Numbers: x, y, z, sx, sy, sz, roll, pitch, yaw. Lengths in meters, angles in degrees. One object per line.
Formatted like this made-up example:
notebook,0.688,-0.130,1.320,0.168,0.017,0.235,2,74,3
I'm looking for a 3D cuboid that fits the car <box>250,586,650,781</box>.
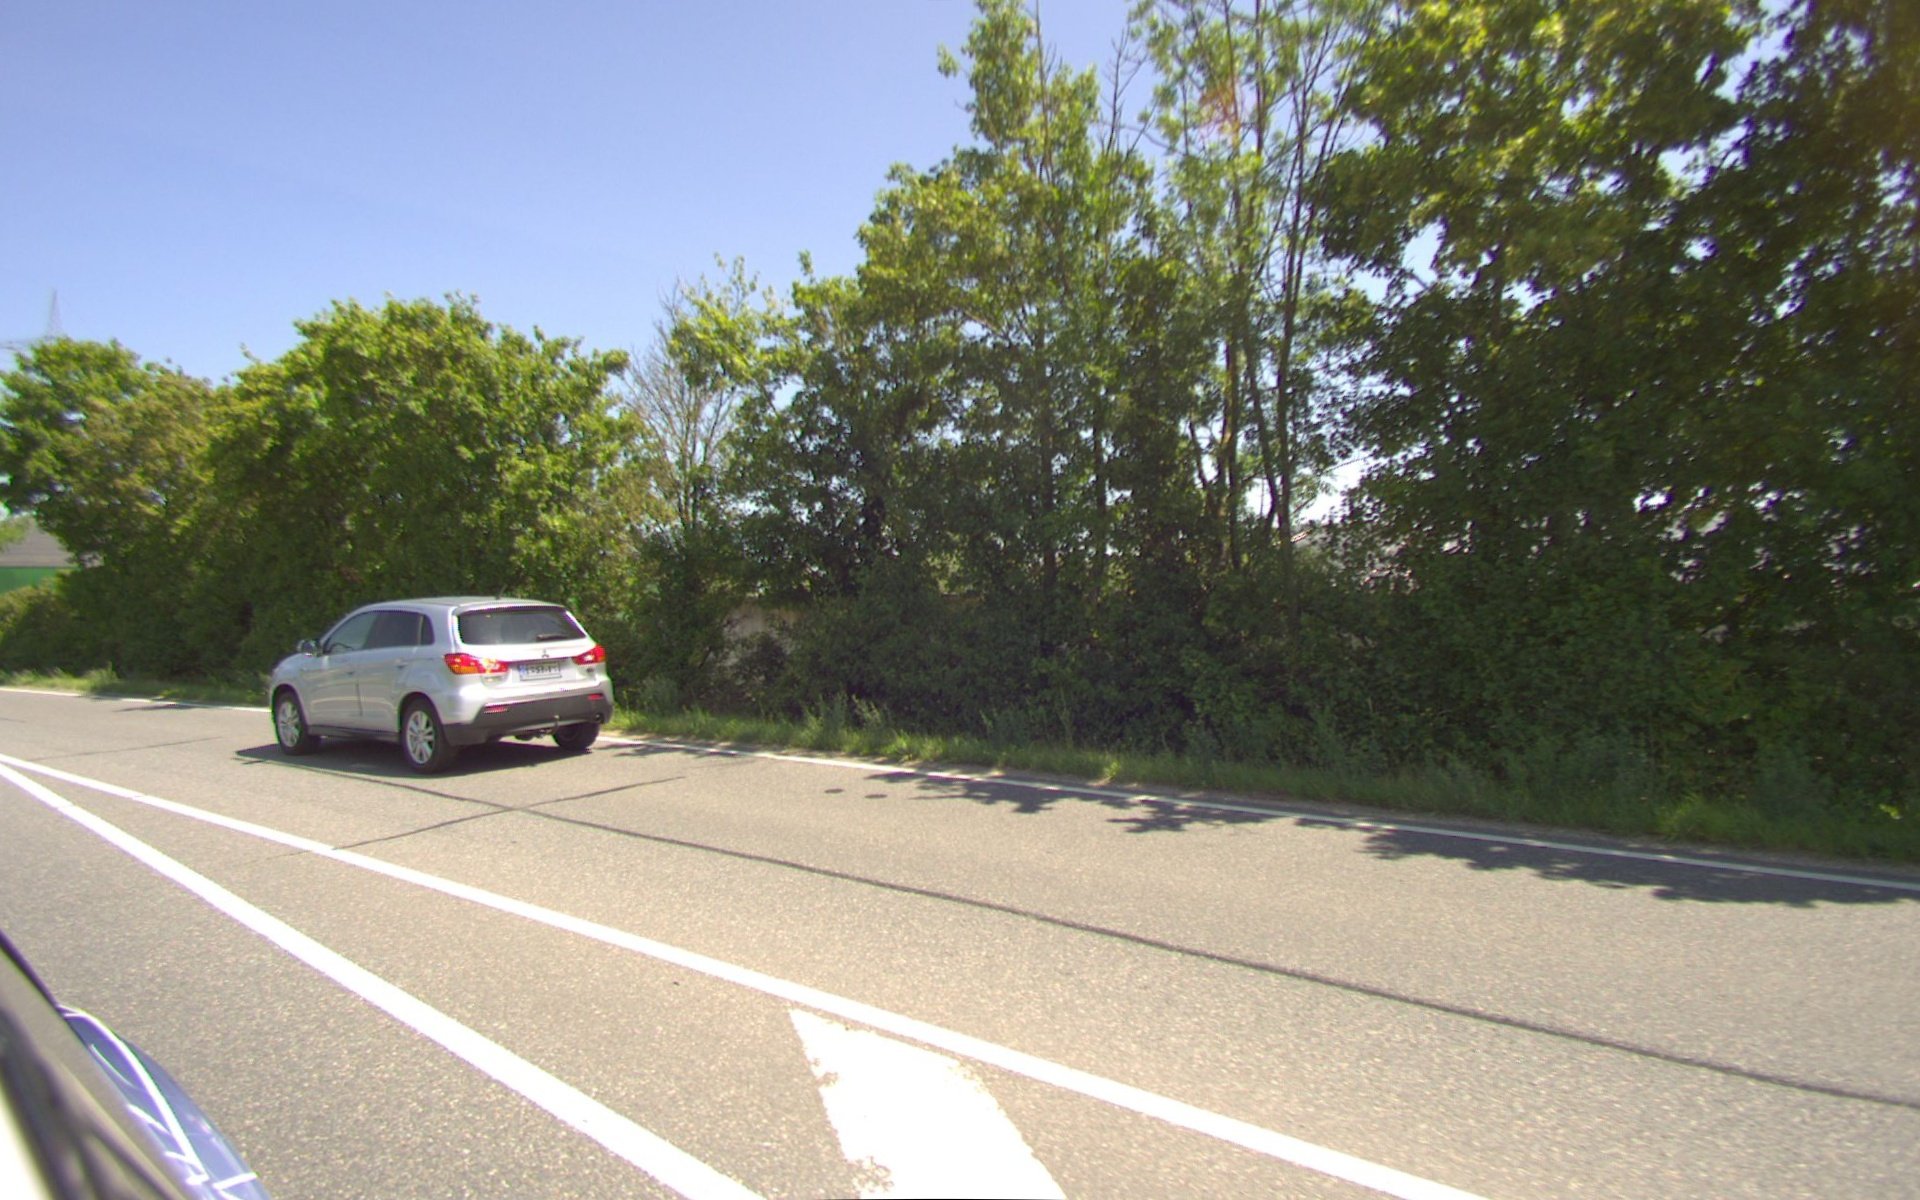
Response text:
car,-5.357,0.731,10.403,4.519,1.601,1.726,-2,0,35
